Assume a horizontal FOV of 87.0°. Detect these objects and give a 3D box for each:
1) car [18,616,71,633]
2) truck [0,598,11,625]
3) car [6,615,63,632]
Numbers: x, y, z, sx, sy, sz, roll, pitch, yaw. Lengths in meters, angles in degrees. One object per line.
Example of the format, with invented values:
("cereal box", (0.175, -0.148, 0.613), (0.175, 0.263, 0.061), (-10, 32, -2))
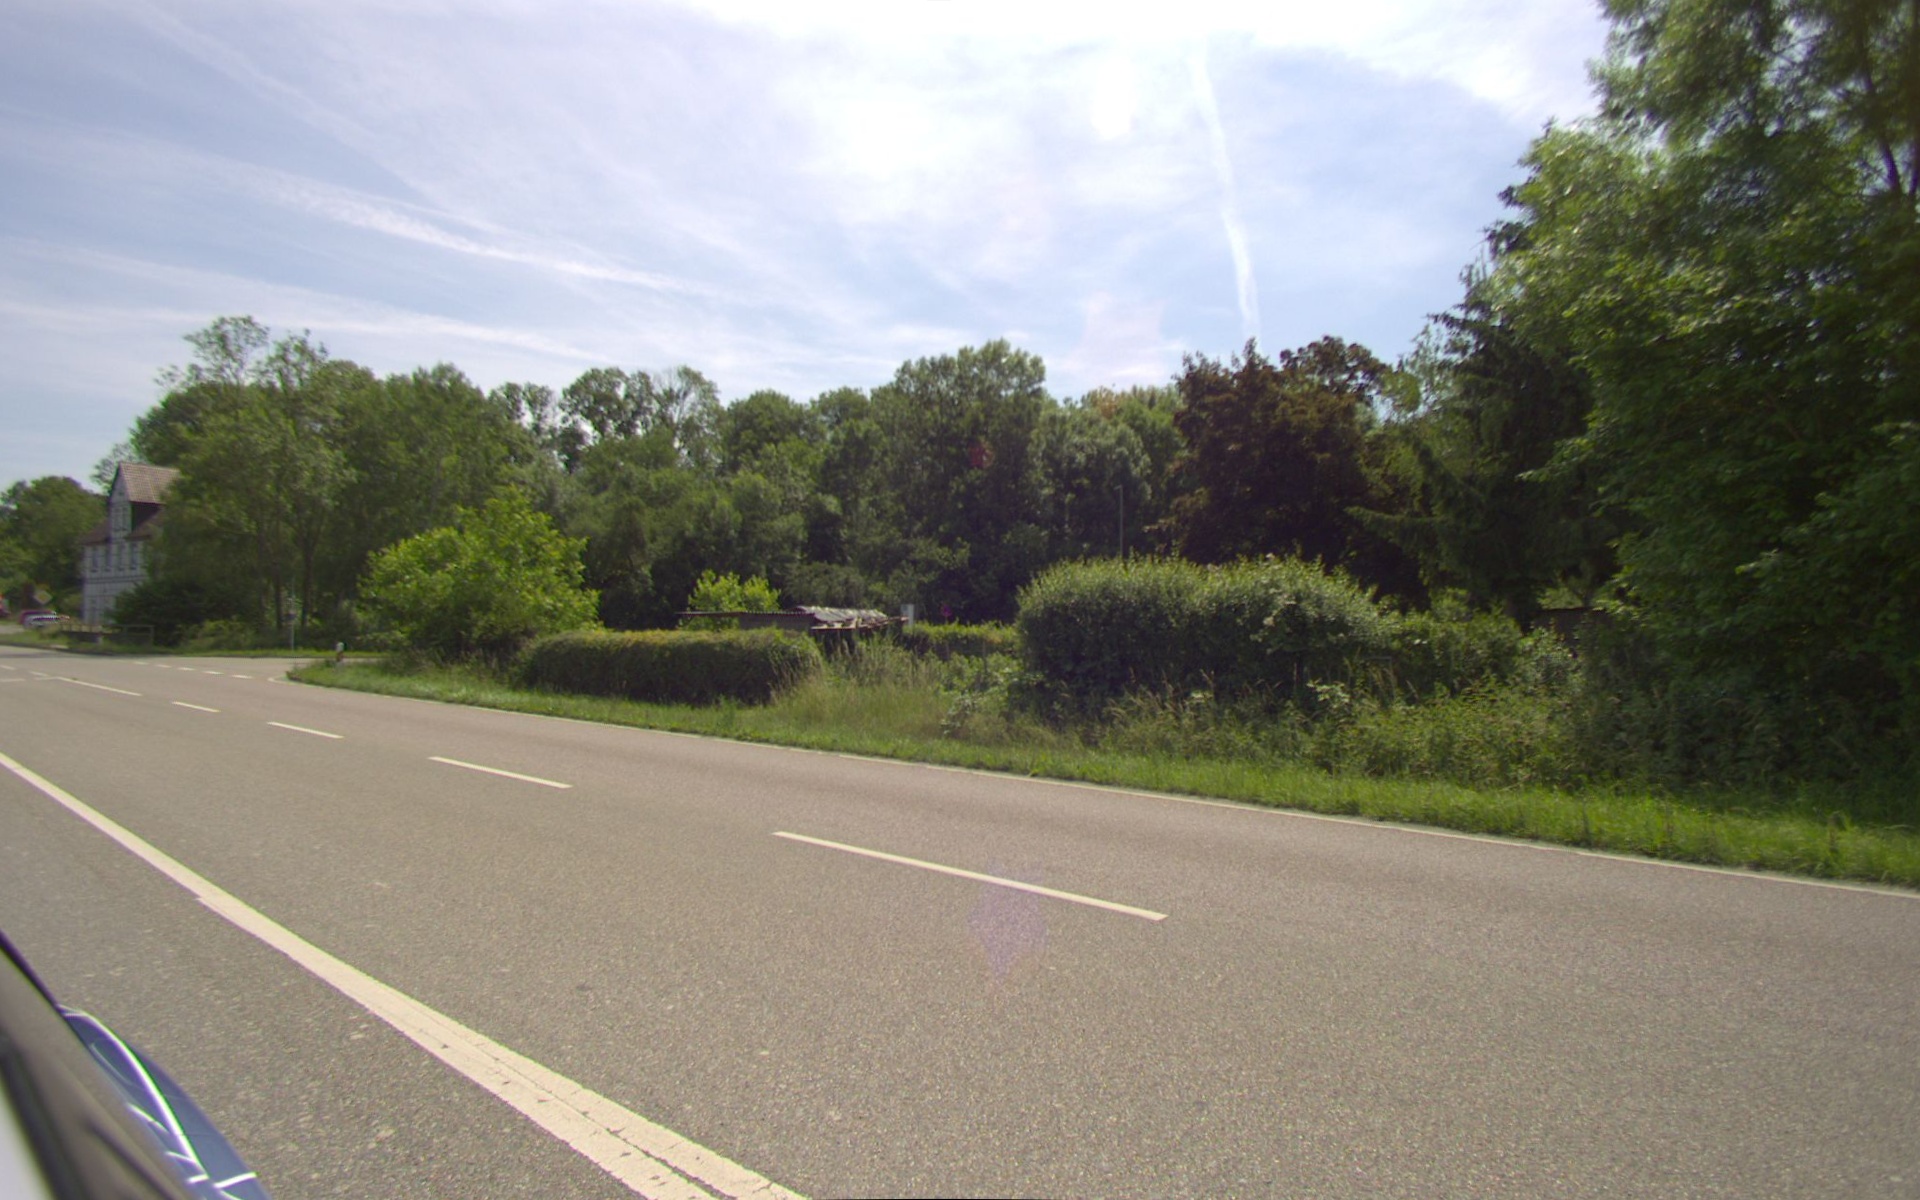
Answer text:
("car", (-84.777, 2.290, 93.772), (1.605, 1.476, 3.350), (0, 0, 33))
("truck", (-108.589, 1.251, 113.715), (6.768, 2.986, 2.006), (1, 1, 40))
("car", (-92.061, 2.337, 100.718), (1.832, 1.631, 3.987), (1, 0, 40))
